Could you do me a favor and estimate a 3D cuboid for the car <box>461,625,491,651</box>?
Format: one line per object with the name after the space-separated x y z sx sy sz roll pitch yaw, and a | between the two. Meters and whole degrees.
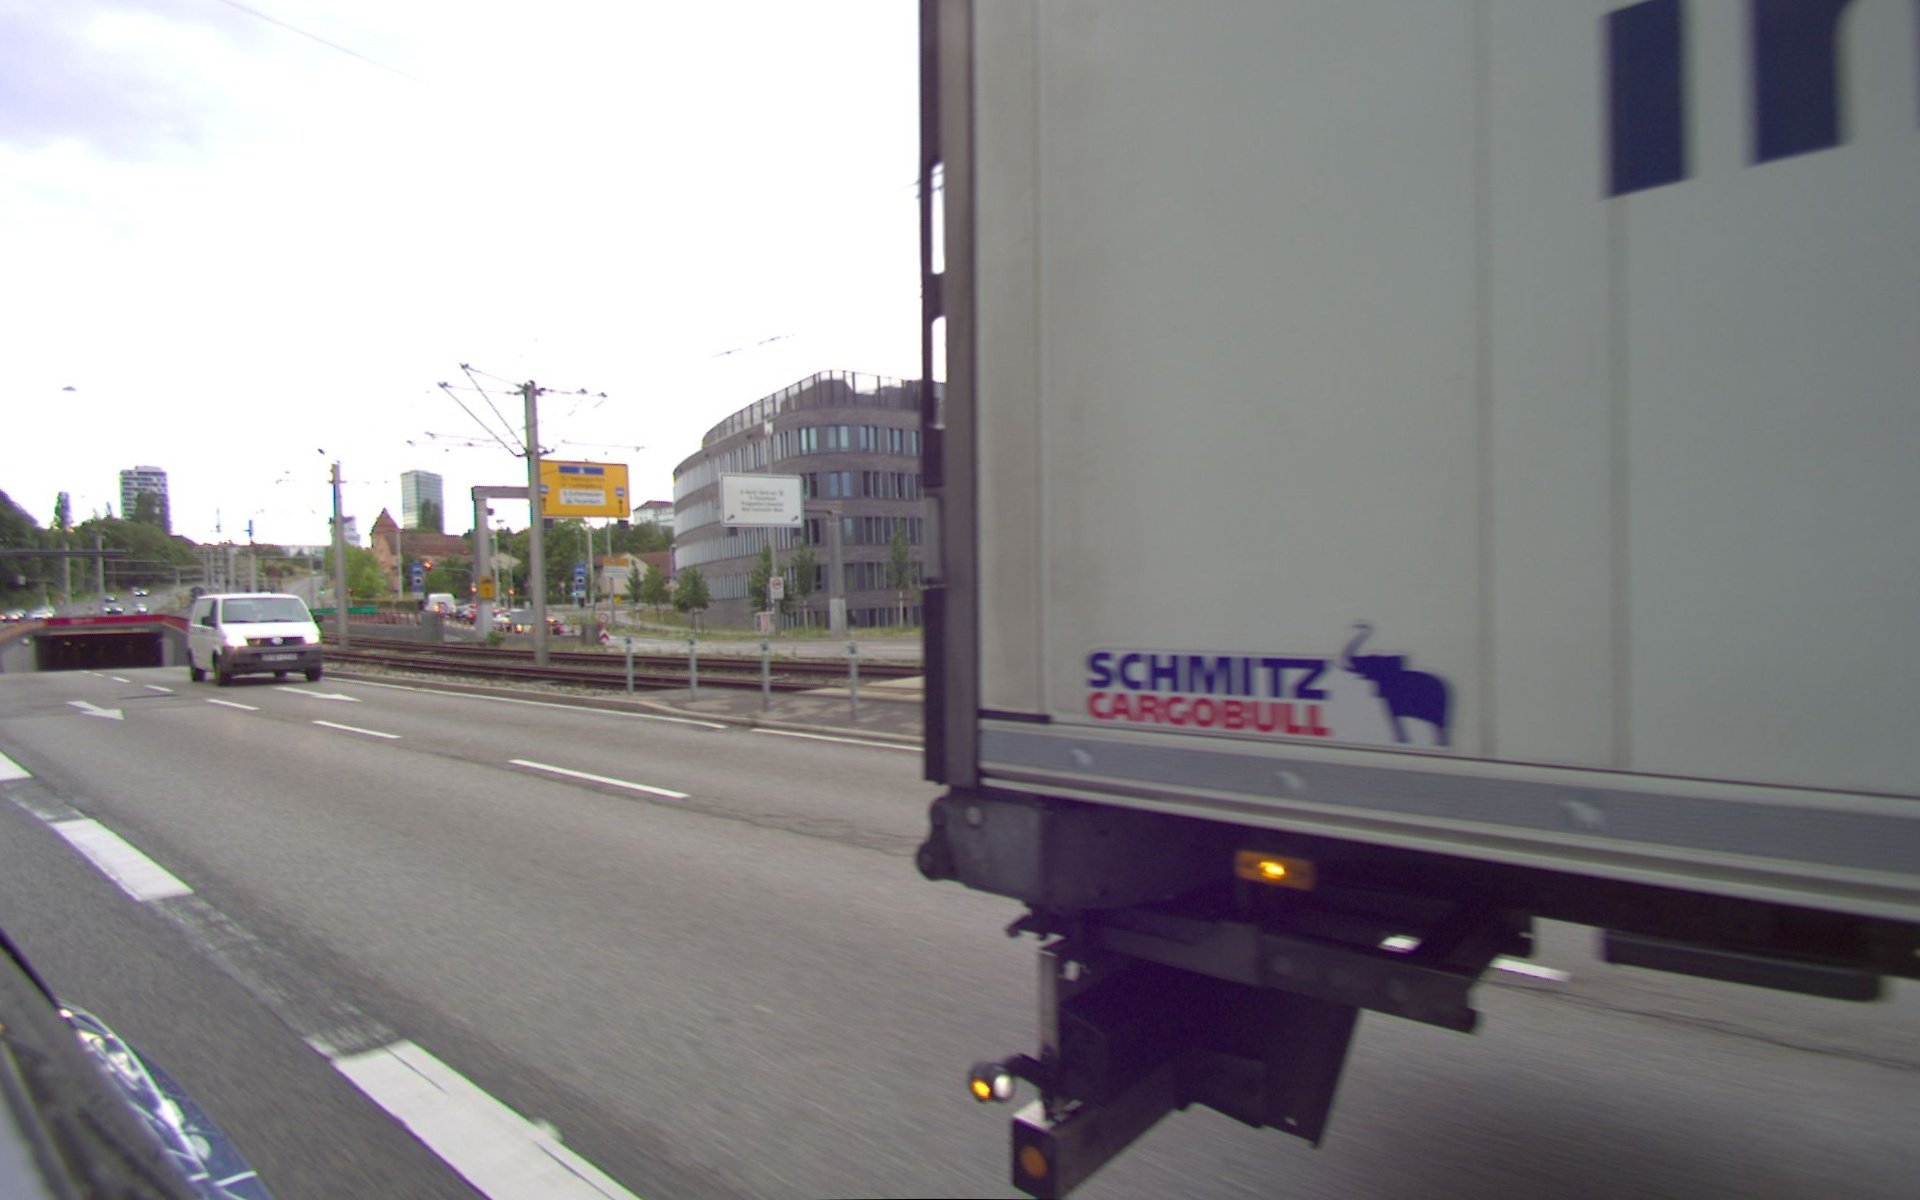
-45.688 3.559 95.506 1.967 2.028 4.215 -1 3 -34 | car

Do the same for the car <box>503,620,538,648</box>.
-38.345 2.939 88.228 1.967 2.028 4.215 -1 3 -34 | car

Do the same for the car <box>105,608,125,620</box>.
-133.233 2.195 159.609 1.710 1.599 4.013 -1 2 -30 | car

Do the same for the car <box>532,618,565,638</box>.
-48.708 3.326 119.882 1.974 2.028 4.199 1 3 4 | car

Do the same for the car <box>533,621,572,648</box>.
-32.280 2.740 80.132 1.967 2.029 4.010 -1 -1 -35 | car

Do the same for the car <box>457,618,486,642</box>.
-48.595 2.957 100.628 1.967 2.028 4.215 -1 3 -34 | car

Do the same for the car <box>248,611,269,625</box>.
-111.551 2.828 160.926 1.965 2.028 4.014 -1 3 -24 | car

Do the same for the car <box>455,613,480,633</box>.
-55.444 2.575 113.917 1.967 2.028 4.215 -1 3 -34 | car

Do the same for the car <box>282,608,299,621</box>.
-121.427 2.674 183.559 1.965 2.028 4.014 -1 3 -24 | car

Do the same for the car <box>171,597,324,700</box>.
-15.884 1.041 22.465 4.687 2.042 1.971 -3 -2 45 | car

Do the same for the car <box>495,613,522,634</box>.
-49.379 2.528 110.542 1.967 2.028 4.215 -1 3 -34 | car

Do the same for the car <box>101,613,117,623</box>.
-134.169 2.864 159.593 1.774 1.482 4.008 -1 1 -38 | car

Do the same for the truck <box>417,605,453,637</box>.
-57.717 2.278 111.182 5.289 3.209 1.971 3 3 44 | truck
